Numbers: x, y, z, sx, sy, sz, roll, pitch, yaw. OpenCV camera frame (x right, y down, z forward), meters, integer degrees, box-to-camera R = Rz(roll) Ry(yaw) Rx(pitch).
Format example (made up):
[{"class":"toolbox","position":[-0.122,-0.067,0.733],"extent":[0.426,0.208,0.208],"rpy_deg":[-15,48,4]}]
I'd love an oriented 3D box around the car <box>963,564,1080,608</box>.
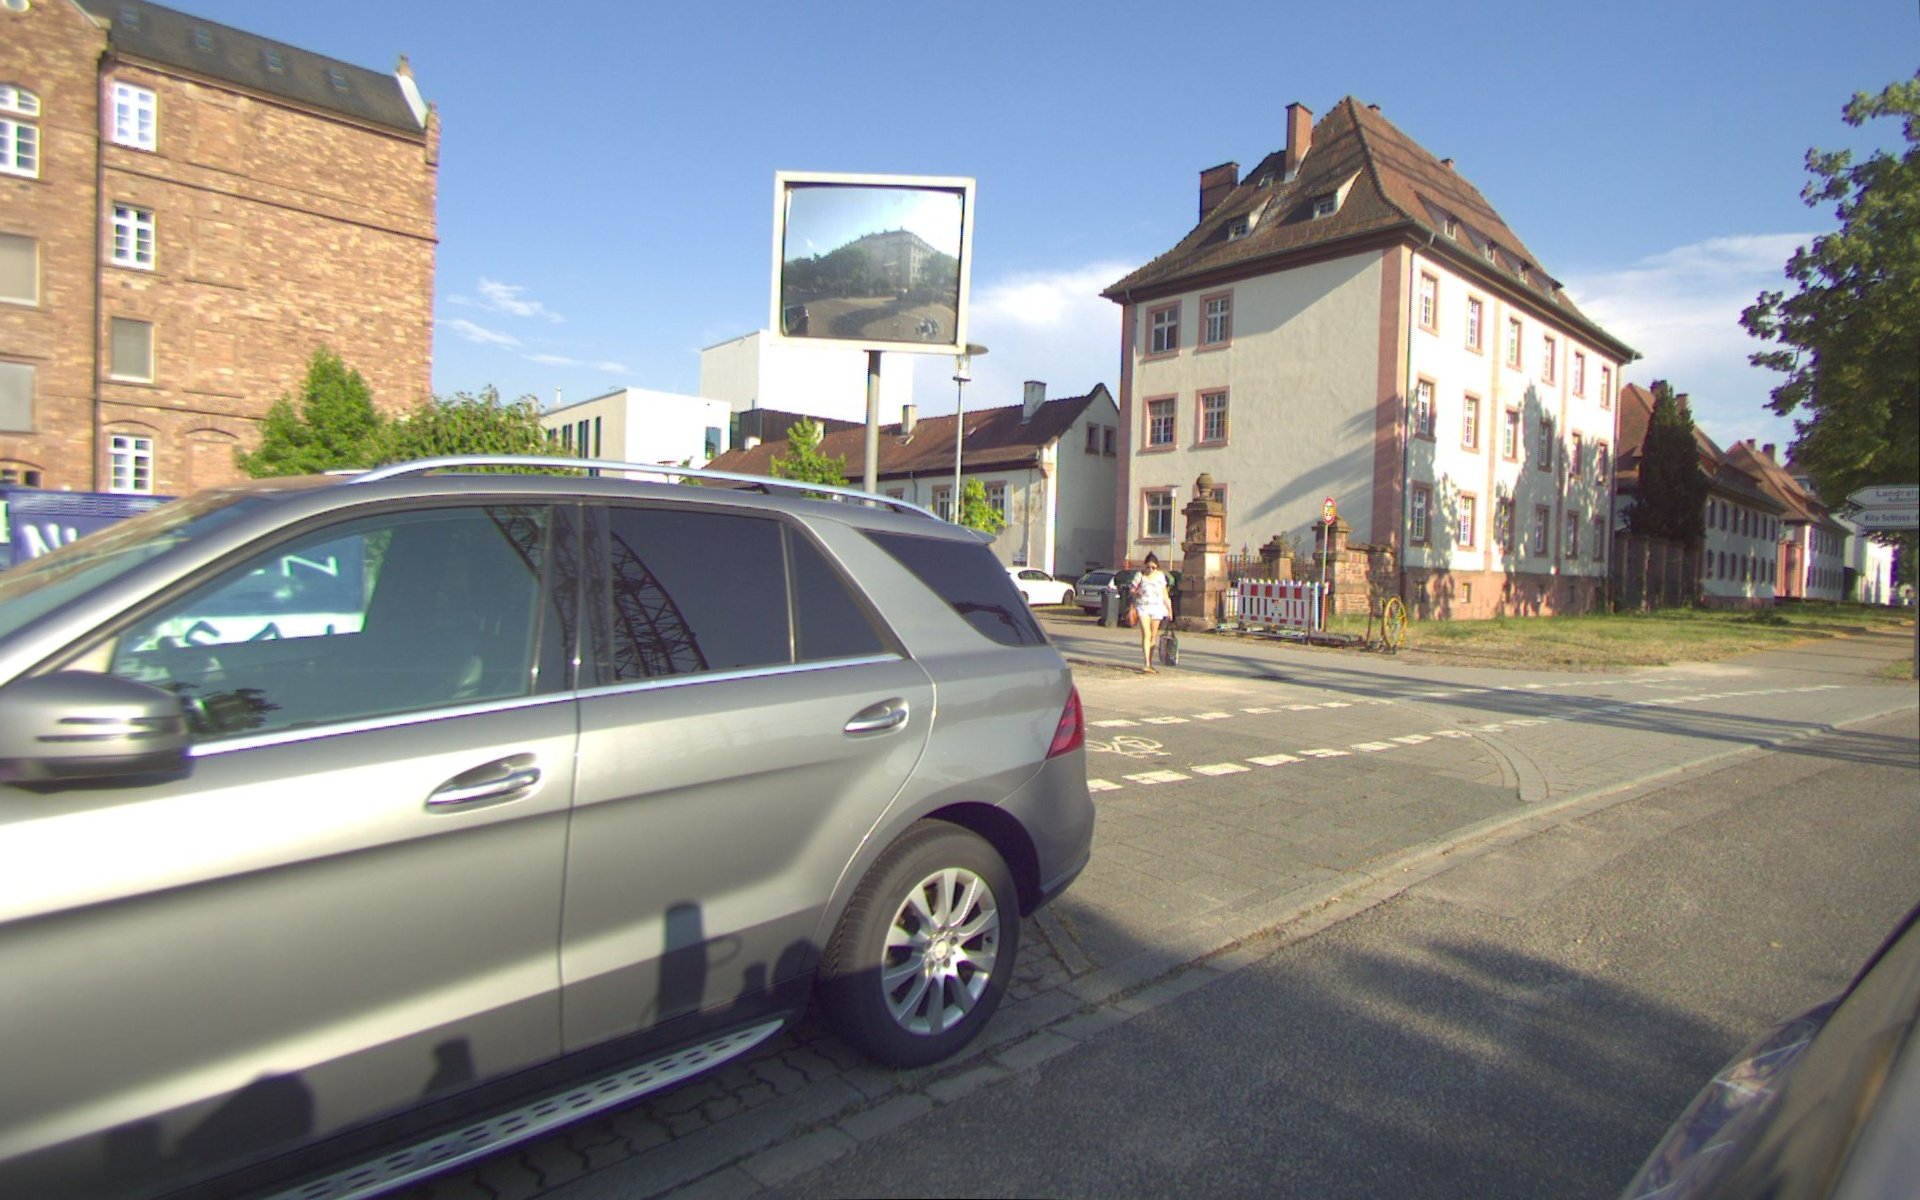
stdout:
[{"class":"car","position":[2.209,-0.517,35.783],"extent":[3.934,1.471,1.995],"rpy_deg":[-2,1,-44]}]

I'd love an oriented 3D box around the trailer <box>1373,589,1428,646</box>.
[{"class":"trailer","position":[8.729,0.324,20.049],"extent":[1.245,1.080,0.483],"rpy_deg":[-1,1,-40]}]

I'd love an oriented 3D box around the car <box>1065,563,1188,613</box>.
[{"class":"car","position":[5.276,-0.397,31.763],"extent":[3.934,1.471,1.793],"rpy_deg":[-2,1,-44]}]

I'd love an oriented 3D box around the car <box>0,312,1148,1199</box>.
[{"class":"car","position":[-1.762,0.365,2.618],"extent":[4.730,1.799,1.925],"rpy_deg":[-2,6,-43]}]

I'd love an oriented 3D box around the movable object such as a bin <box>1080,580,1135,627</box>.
[{"class":"movable object such as a bin","position":[3.628,0.079,24.996],"extent":[0.920,1.105,0.988],"rpy_deg":[-1,1,-31]}]

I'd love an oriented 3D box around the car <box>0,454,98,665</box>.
[{"class":"car","position":[-9.203,-0.288,7.710],"extent":[3.934,1.683,1.654],"rpy_deg":[-2,1,-44]}]

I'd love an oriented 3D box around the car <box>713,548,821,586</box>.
[{"class":"car","position":[-9.410,-1.601,49.599],"extent":[4.885,1.734,1.997],"rpy_deg":[-2,1,-41]}]

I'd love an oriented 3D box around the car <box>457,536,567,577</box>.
[{"class":"car","position":[-19.297,-1.861,43.673],"extent":[3.929,1.638,1.997],"rpy_deg":[-2,1,-40]}]

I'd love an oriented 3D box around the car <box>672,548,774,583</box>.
[{"class":"car","position":[-12.504,-1.824,53.504],"extent":[4.885,1.734,1.997],"rpy_deg":[-2,1,-41]}]

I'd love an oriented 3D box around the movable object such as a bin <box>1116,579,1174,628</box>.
[{"class":"movable object such as a bin","position":[4.393,0.070,24.026],"extent":[0.920,1.105,0.988],"rpy_deg":[-1,1,-31]}]

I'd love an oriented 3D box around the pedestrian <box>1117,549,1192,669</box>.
[{"class":"pedestrian","position":[2.747,0.110,14.267],"extent":[0.713,1.631,0.777],"rpy_deg":[-1,0,43]}]
